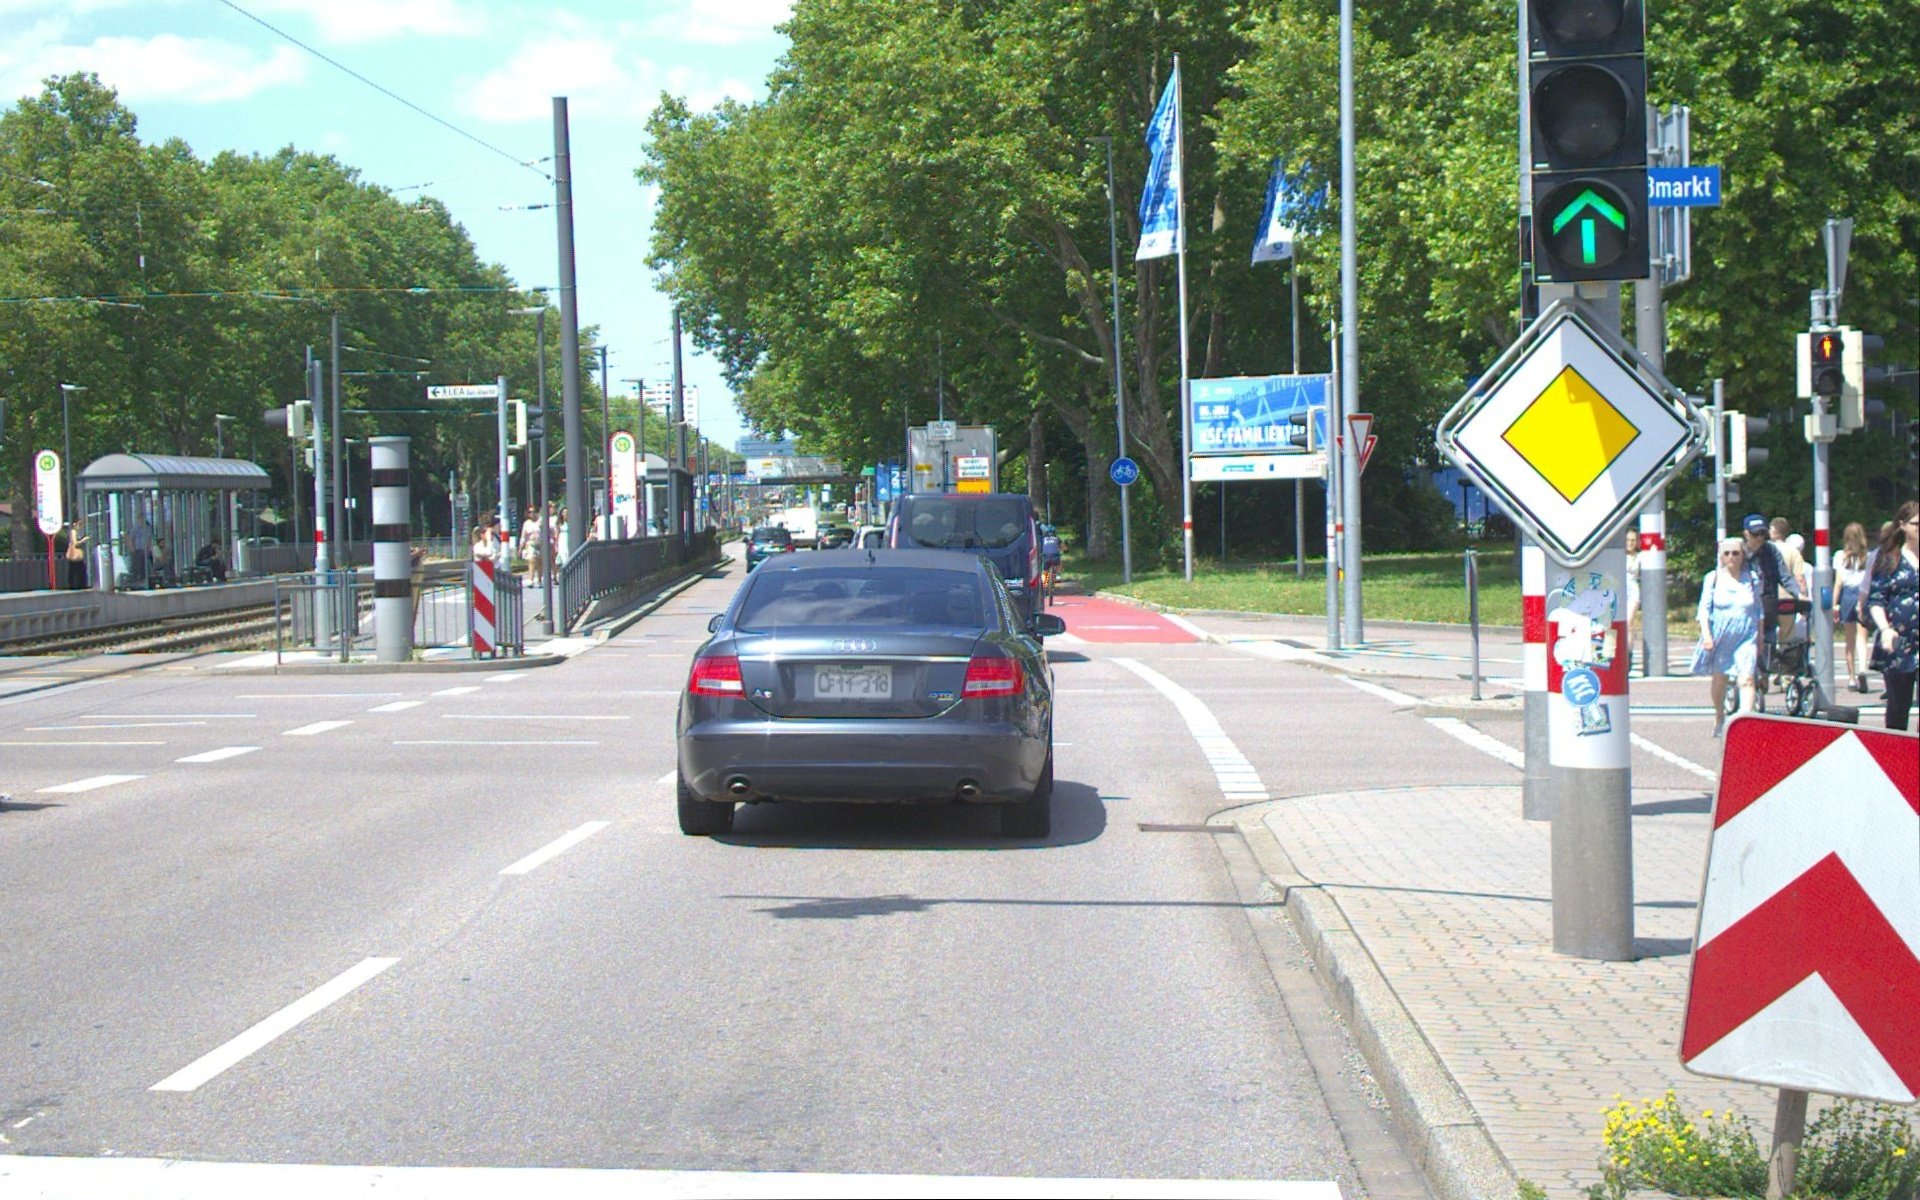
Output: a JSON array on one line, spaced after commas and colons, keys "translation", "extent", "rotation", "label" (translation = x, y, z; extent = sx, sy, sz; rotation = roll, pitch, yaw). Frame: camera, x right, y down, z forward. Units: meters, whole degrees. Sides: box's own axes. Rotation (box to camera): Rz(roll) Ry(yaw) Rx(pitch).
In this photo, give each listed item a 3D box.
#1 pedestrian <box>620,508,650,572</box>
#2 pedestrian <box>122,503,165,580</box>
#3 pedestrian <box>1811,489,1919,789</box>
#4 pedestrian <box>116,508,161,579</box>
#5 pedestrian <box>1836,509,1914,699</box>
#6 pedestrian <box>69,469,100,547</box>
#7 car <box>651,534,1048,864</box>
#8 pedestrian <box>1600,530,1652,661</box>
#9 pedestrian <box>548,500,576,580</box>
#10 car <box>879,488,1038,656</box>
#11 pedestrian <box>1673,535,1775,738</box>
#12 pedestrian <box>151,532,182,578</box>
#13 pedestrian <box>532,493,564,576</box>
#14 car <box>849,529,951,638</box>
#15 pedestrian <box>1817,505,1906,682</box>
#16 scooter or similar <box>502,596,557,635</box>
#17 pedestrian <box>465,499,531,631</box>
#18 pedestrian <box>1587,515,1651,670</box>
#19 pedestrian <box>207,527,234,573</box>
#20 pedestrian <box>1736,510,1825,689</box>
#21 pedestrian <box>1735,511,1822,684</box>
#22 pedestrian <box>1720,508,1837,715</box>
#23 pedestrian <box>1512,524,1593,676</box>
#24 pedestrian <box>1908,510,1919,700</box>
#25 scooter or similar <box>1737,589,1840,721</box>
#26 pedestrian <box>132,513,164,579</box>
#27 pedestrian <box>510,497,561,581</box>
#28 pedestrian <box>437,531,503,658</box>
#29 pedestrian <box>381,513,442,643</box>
[{"translation": [-8.500, -1.562, 89.959], "extent": [0.732, 1.660, 0.742], "rotation": [0, 2, -3], "label": "pedestrian"}, {"translation": [-18.639, -1.335, 78.494], "extent": [0.738, 1.723, 0.577], "rotation": [0, 2, 35], "label": "pedestrian"}, {"translation": [5.577, 0.221, 20.523], "extent": [0.803, 1.753, 0.797], "rotation": [0, 1, 2], "label": "pedestrian"}, {"translation": [-19.093, -1.315, 79.922], "extent": [0.827, 1.633, 0.577], "rotation": [0, 2, 35], "label": "pedestrian"}, {"translation": [7.983, 0.033, 30.026], "extent": [0.606, 1.632, 0.863], "rotation": [0, 0, 12], "label": "pedestrian"}, {"translation": [-18.569, -1.952, 72.905], "extent": [0.557, 1.632, 0.807], "rotation": [-1, 1, -10], "label": "pedestrian"}, {"translation": [-0.491, 0.422, 17.941], "extent": [1.842, 1.479, 4.000], "rotation": [0, 2, 1], "label": "car"}, {"translation": [8.055, -0.062, 41.604], "extent": [0.527, 1.574, 0.612], "rotation": [0, 1, 2], "label": "pedestrian"}, {"translation": [-7.897, -1.185, 68.185], "extent": [0.497, 1.572, 0.557], "rotation": [-1, 1, -4], "label": "pedestrian"}, {"translation": [-0.046, -0.373, 42.087], "extent": [1.848, 1.952, 4.145], "rotation": [0, 1, -1], "label": "car"}, {"translation": [5.657, 0.256, 25.486], "extent": [0.589, 1.471, 0.806], "rotation": [1, 1, 4], "label": "pedestrian"}, {"translation": [-19.061, -1.088, 82.584], "extent": [0.576, 1.091, 0.639], "rotation": [-1, 2, -2], "label": "pedestrian"}, {"translation": [-8.346, -1.323, 69.656], "extent": [0.613, 1.675, 0.720], "rotation": [0, 1, -4], "label": "pedestrian"}, {"translation": [-1.120, -0.341, 64.691], "extent": [1.848, 1.952, 4.145], "rotation": [0, 1, -1], "label": "car"}, {"translation": [8.531, -0.073, 32.540], "extent": [0.795, 1.653, 0.851], "rotation": [0, 1, 15], "label": "pedestrian"}, {"translation": [-5.950, 0.213, 47.516], "extent": [0.726, 0.504, 0.457], "rotation": [-1, 2, -5], "label": "scooter or similar"}, {"translation": [-6.364, -0.491, 47.375], "extent": [0.862, 1.796, 0.884], "rotation": [0, 1, -6], "label": "pedestrian"}, {"translation": [7.181, -0.091, 37.434], "extent": [0.623, 1.677, 0.725], "rotation": [0, 1, 15], "label": "pedestrian"}, {"translation": [-19.397, -1.317, 90.173], "extent": [0.576, 1.186, 0.639], "rotation": [-1, 2, -2], "label": "pedestrian"}, {"translation": [7.708, -0.014, 32.279], "extent": [0.795, 1.653, 0.851], "rotation": [0, 1, 15], "label": "pedestrian"}, {"translation": [7.946, -0.032, 33.356], "extent": [0.795, 1.653, 0.851], "rotation": [0, 1, 15], "label": "pedestrian"}, {"translation": [6.702, 0.084, 28.186], "extent": [0.782, 1.667, 0.946], "rotation": [0, 1, 5], "label": "pedestrian"}, {"translation": [6.369, -0.010, 36.929], "extent": [0.766, 1.600, 0.896], "rotation": [0, 1, 15], "label": "pedestrian"}, {"translation": [8.590, 0.041, 29.896], "extent": [0.602, 1.632, 0.863], "rotation": [0, 0, 12], "label": "pedestrian"}, {"translation": [6.657, 0.434, 27.653], "extent": [0.690, 1.027, 0.863], "rotation": [0, 1, 6], "label": "scooter or similar"}, {"translation": [-19.054, -1.275, 80.696], "extent": [0.576, 1.528, 0.639], "rotation": [-1, 2, -2], "label": "pedestrian"}, {"translation": [-8.190, -1.175, 66.372], "extent": [0.890, 1.599, 0.924], "rotation": [-1, 2, -3], "label": "pedestrian"}, {"translation": [-6.137, -0.075, 43.108], "extent": [0.785, 1.567, 0.765], "rotation": [0, 1, -5], "label": "pedestrian"}, {"translation": [-7.112, -0.291, 44.562], "extent": [0.732, 1.667, 0.679], "rotation": [0, 1, -5], "label": "pedestrian"}]
